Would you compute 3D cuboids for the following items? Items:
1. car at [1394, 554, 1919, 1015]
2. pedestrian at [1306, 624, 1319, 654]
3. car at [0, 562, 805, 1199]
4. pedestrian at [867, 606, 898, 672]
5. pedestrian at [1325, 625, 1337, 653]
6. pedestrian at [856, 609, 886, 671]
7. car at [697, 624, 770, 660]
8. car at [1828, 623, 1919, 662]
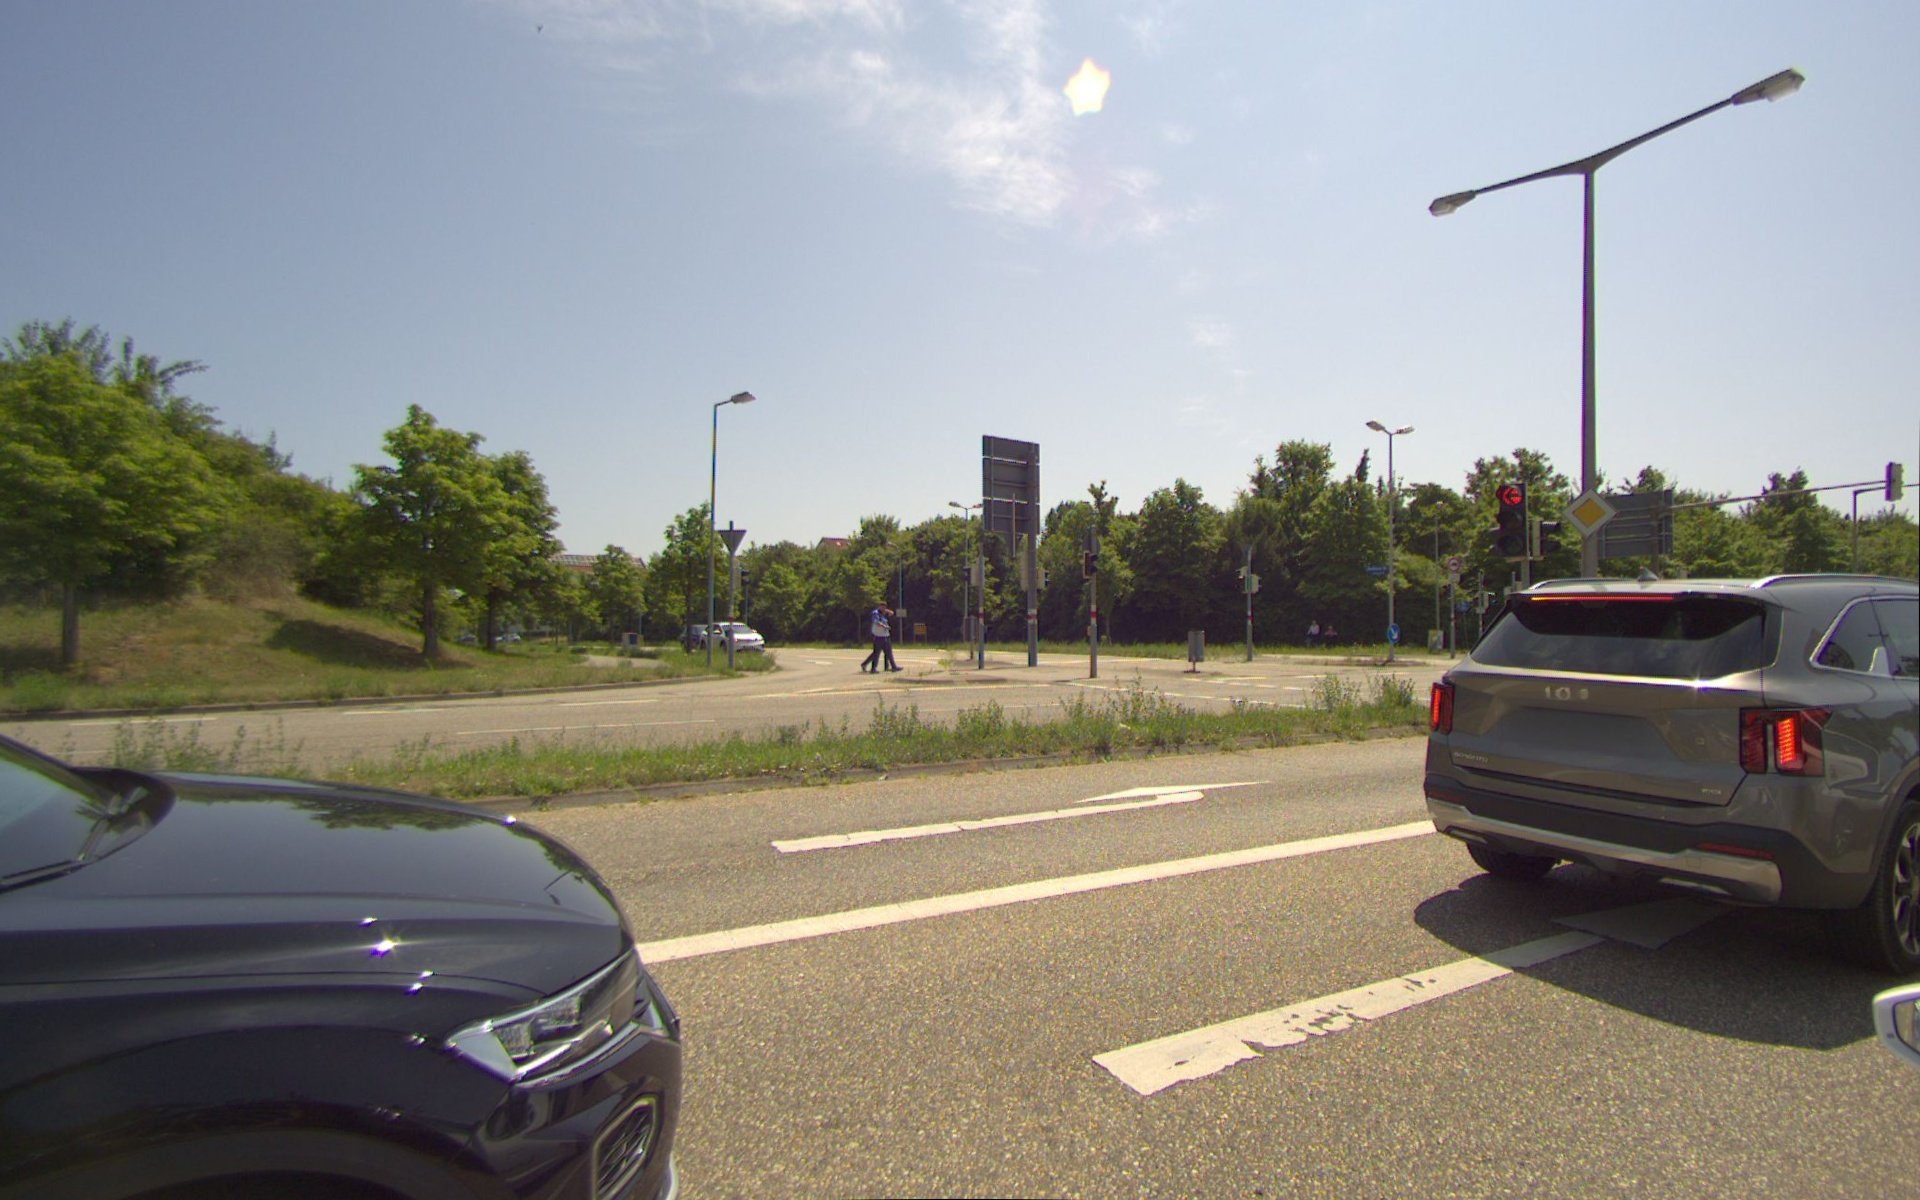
[{"bbox_3d":[4.685,0.736,5.629,4.590,1.684,1.795,1,-1,-30],"label":"car"},{"bbox_3d":[19.749,2.179,56.246,0.606,1.624,0.798,-1,-1,24],"label":"pedestrian"},{"bbox_3d":[-2.392,0.686,1.438,3.924,1.532,1.726,2,0,-30],"label":"car"},{"bbox_3d":[-2.088,1.038,27.020,0.779,1.759,0.582,0,-1,-11],"label":"pedestrian"},{"bbox_3d":[20.616,2.170,55.793,0.606,1.523,0.798,0,-1,24],"label":"pedestrian"},{"bbox_3d":[-2.494,1.118,28.161,0.761,1.722,0.723,0,-1,-11],"label":"pedestrian"},{"bbox_3d":[-10.641,1.936,46.922,1.860,1.522,4.269,-2,-1,-34],"label":"car"},{"bbox_3d":[36.449,1.648,39.863,4.119,1.475,1.814,1,-1,-30],"label":"car"}]
